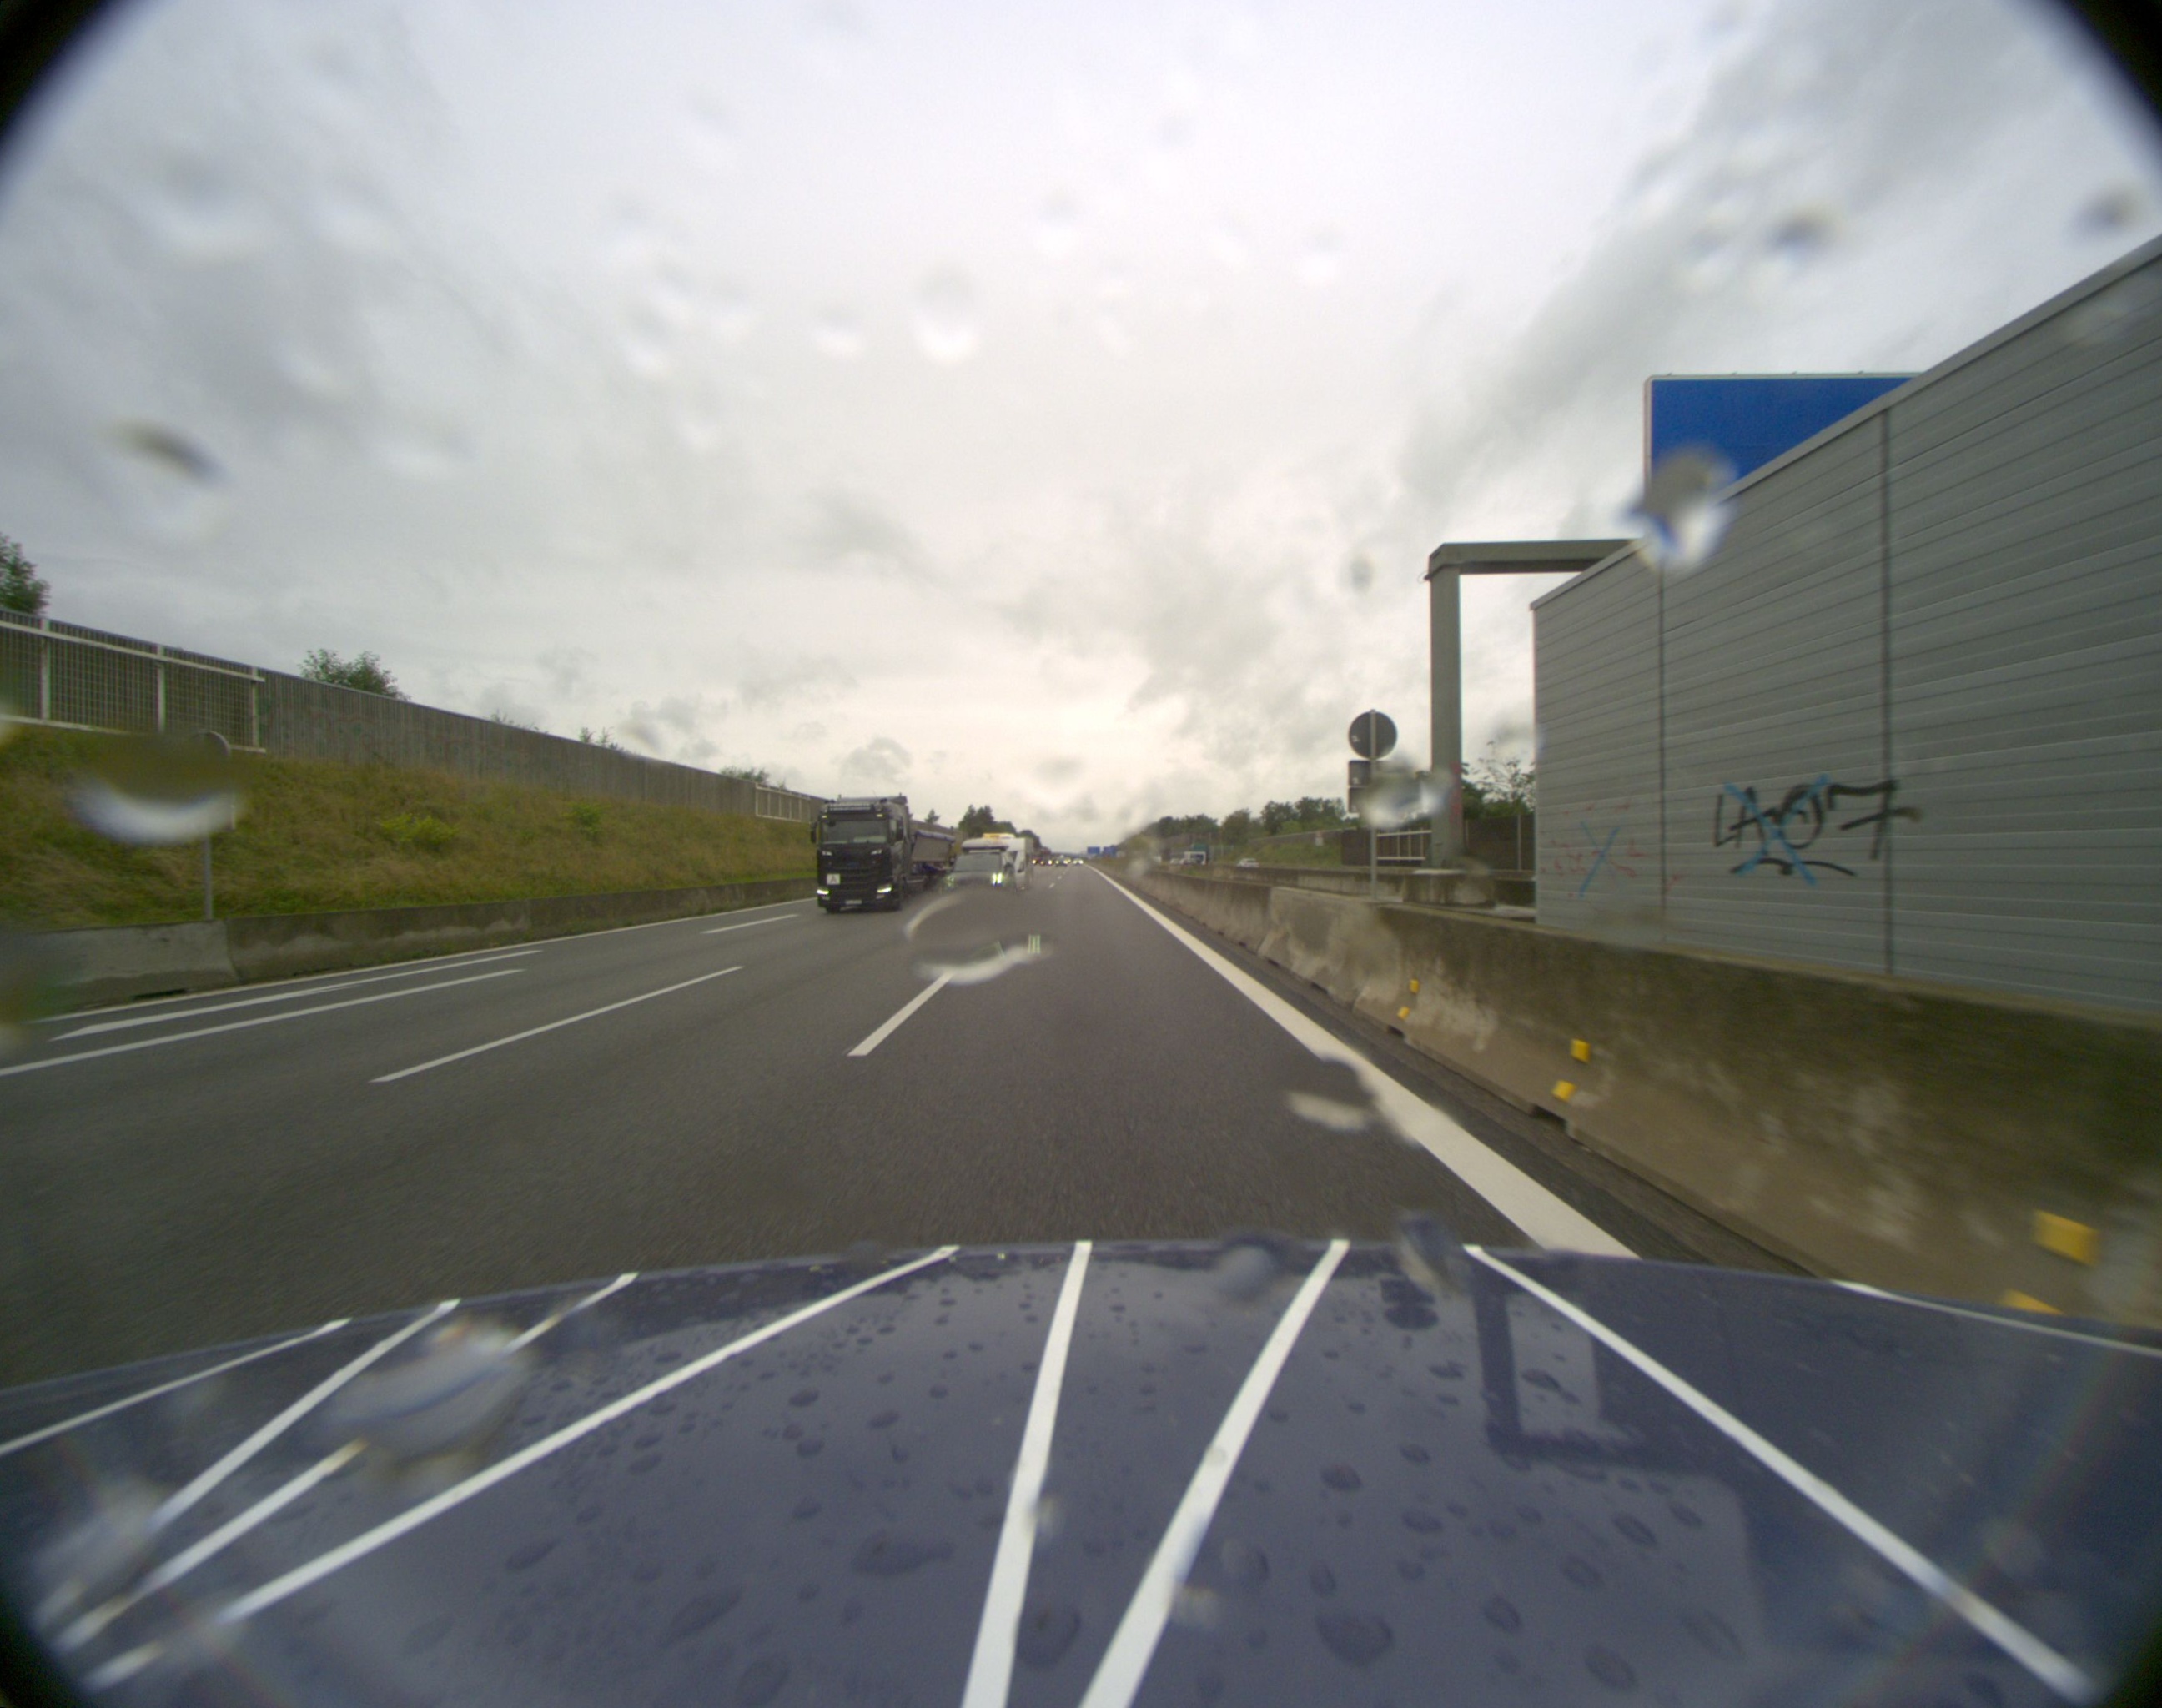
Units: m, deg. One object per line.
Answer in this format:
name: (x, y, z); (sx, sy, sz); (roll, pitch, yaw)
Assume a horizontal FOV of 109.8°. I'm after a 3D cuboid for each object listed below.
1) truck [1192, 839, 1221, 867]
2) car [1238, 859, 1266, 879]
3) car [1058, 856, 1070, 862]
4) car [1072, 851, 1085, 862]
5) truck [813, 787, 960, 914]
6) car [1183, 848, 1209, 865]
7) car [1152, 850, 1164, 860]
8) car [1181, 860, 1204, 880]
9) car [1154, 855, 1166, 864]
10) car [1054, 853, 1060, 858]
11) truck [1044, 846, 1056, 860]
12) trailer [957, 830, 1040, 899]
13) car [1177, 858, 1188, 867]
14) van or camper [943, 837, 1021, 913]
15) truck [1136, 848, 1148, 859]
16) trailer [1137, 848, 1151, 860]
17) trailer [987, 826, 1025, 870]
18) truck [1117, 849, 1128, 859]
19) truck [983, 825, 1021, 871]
truck: (18.401, -0.108, 111.788); (2.870, 3.815, 7.521); (-2, 0, -1)
car: (18.505, 1.611, 82.485); (1.999, 1.969, 3.999); (-2, 0, -1)
car: (-3.209, 0.845, 142.569); (2.061, 1.020, 3.438); (-2, 0, -1)
car: (-0.554, 0.534, 165.635); (2.680, 2.340, 5.807); (-1, 0, -3)
truck: (-7.057, -0.115, 29.979); (2.820, 3.927, 12.711); (0, 0, -1)
car: (14.553, 0.307, 96.353); (2.219, 2.002, 7.058); (-2, 0, 0)
car: (15.196, 0.159, 150.024); (1.998, 2.002, 5.618); (-2, 0, 1)
car: (11.457, 1.620, 78.437); (1.873, 1.911, 4.000); (-2, 0, 1)
car: (17.106, 1.164, 165.370); (1.912, 2.002, 5.953); (-2, 0, 0)
car: (-7.940, 0.488, 253.822); (1.999, 1.747, 4.000); (-1, 0, 0)
truck: (-7.362, -0.142, 182.449); (2.617, 3.218, 4.632); (-1, 0, -1)
trailer: (-3.359, 0.416, 32.795); (2.728, 2.626, 7.511); (-1, 0, 0)
car: (18.757, 1.611, 140.612); (1.656, 1.482, 3.296); (-2, 0, 1)
van or camper: (-3.267, 0.659, 26.157); (1.895, 2.256, 5.679); (-2, 0, -1)
truck: (17.239, -0.051, 214.809); (2.628, 3.002, 5.176); (-2, 0, -1)
trailer: (17.340, -0.039, 208.412); (2.618, 2.971, 10.795); (-2, 0, -1)
trailer: (-7.655, -0.581, 79.588); (2.658, 3.930, 16.682); (-2, 0, -2)
truck: (12.551, 0.009, 230.867); (2.963, 3.049, 8.726); (-2, 0, 0)
truck: (-7.397, -0.539, 72.259); (2.693, 3.935, 9.324); (-2, 0, -2)
